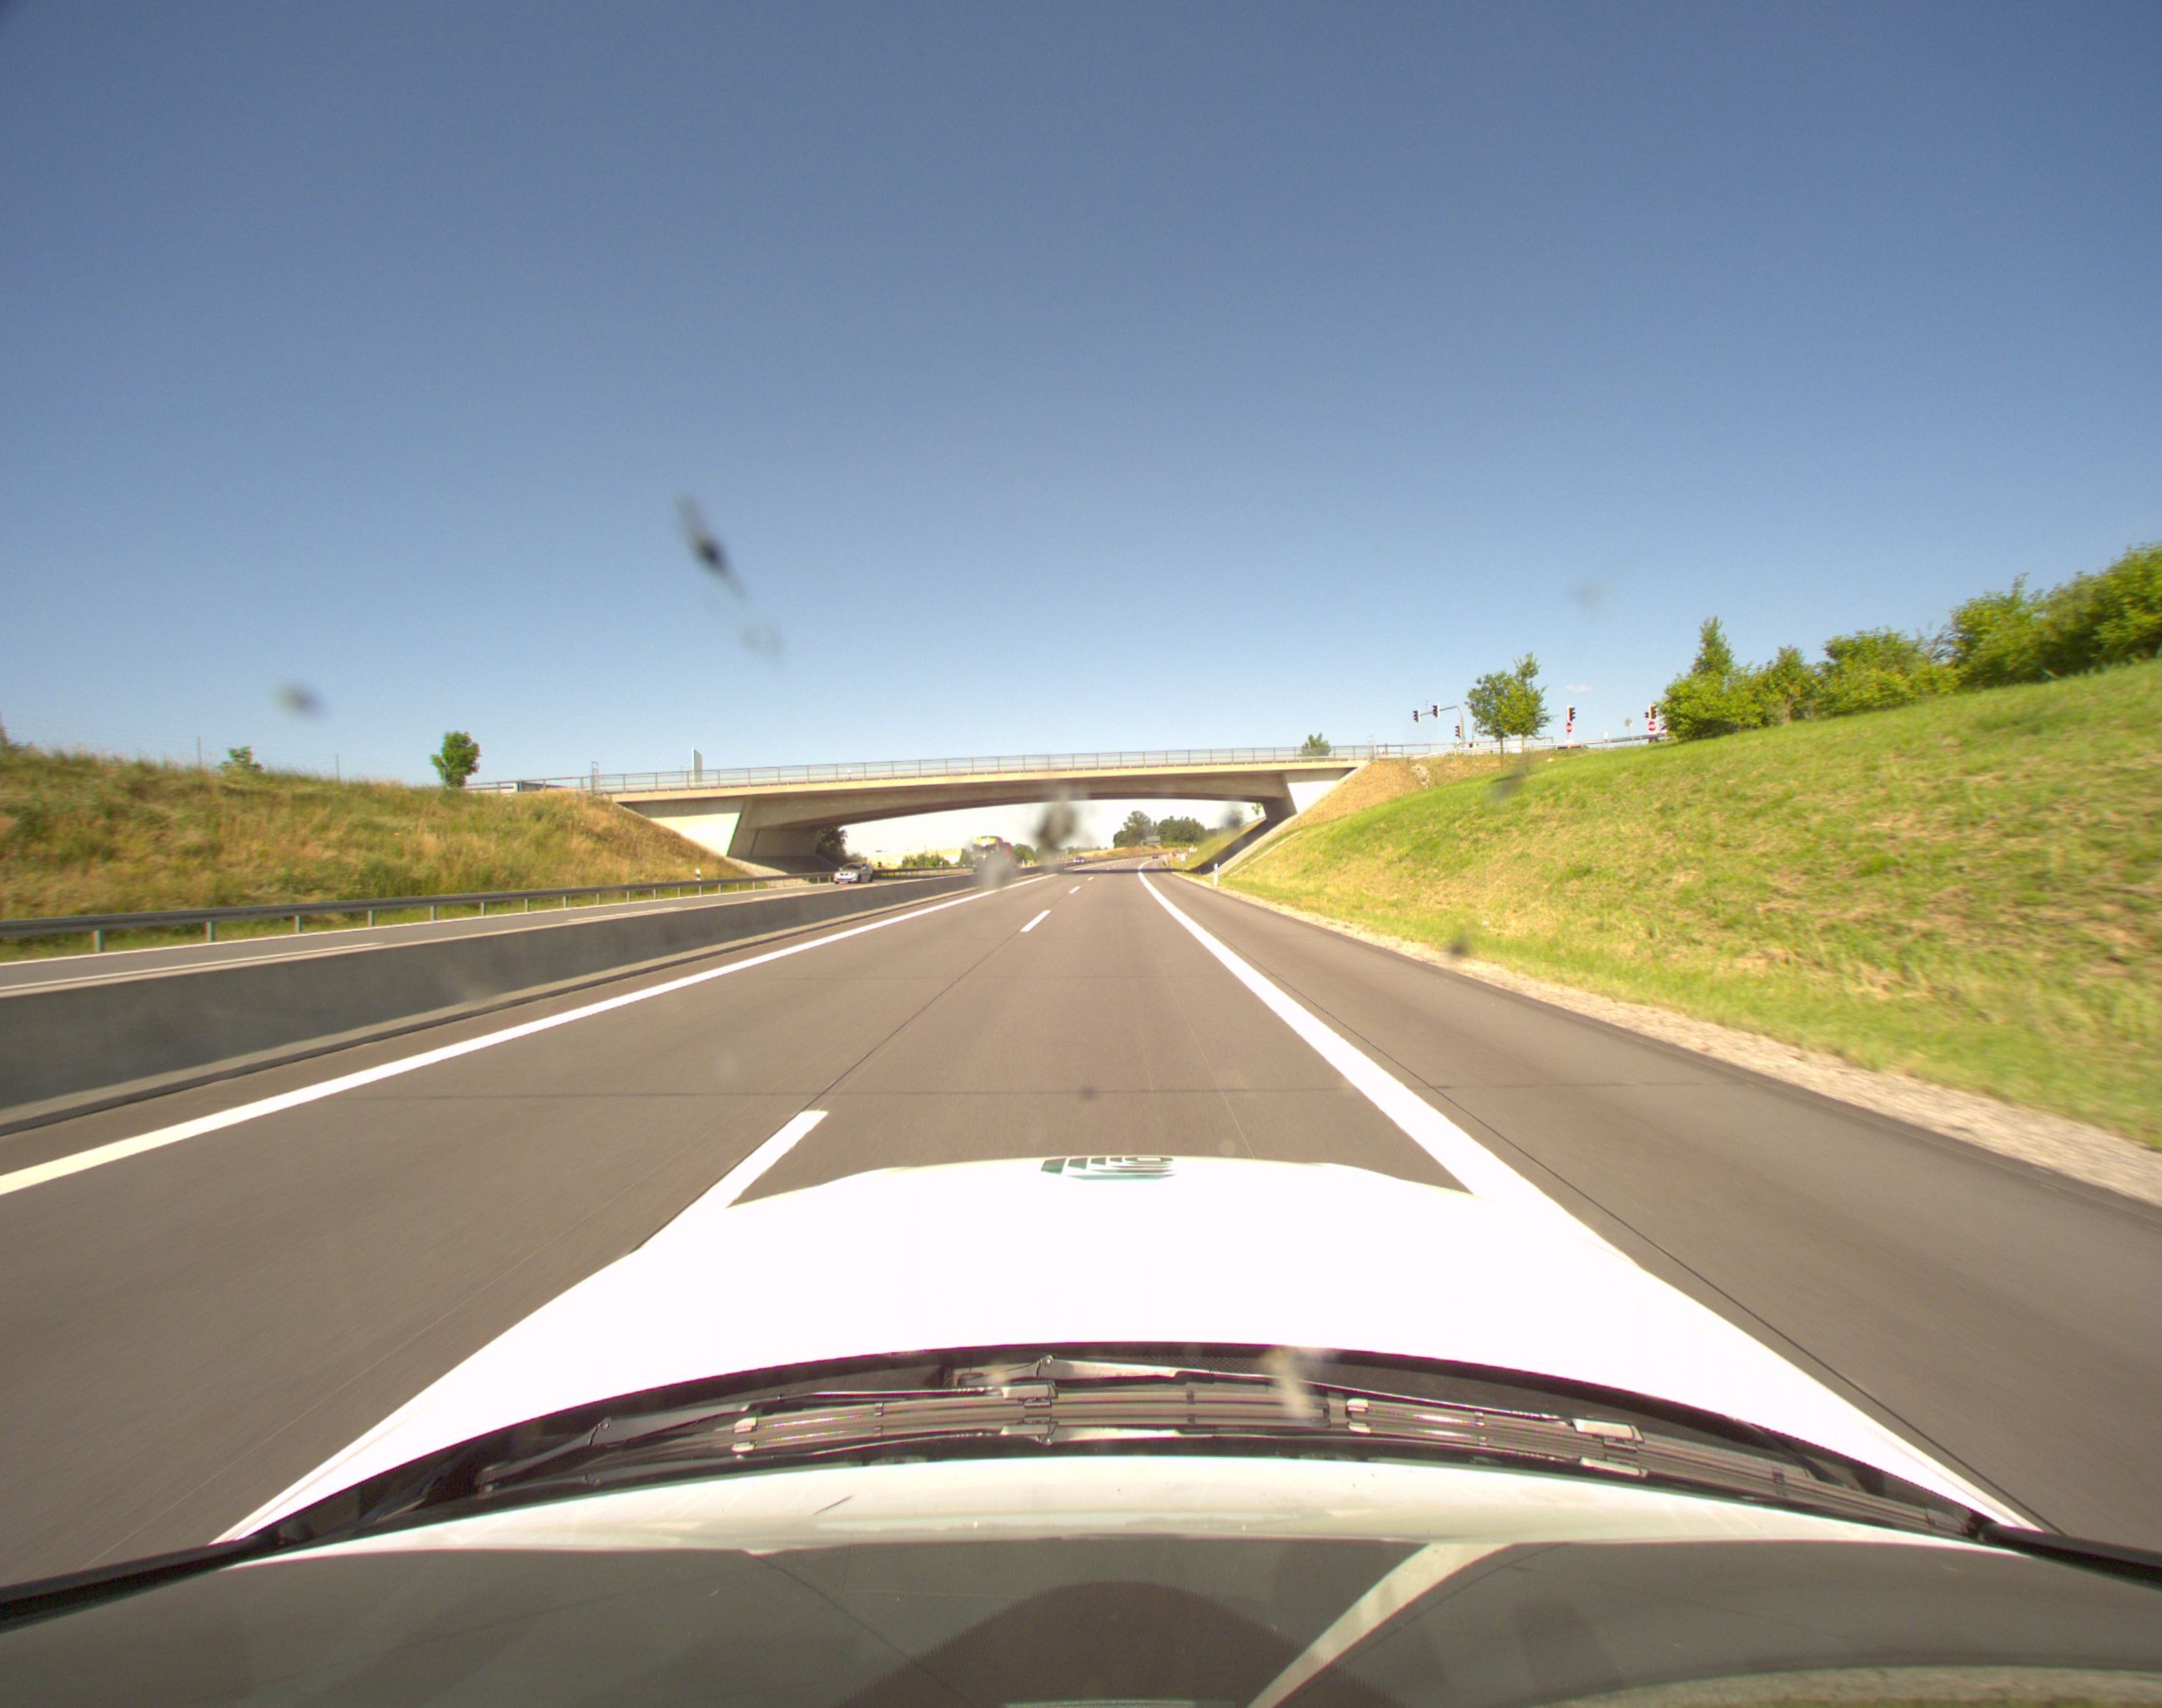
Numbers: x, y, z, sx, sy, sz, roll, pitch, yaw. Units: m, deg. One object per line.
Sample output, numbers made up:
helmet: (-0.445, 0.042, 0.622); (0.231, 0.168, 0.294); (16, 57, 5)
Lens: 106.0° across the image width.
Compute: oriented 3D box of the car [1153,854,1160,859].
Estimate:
car: (23.003, 0.750, 246.725); (1.983, 1.420, 4.007); (-3, 0, 6)

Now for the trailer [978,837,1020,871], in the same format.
trailer: (-9.275, -0.016, 94.092); (2.653, 3.657, 13.250); (-1, 0, 4)

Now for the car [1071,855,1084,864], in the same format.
car: (-0.593, 1.034, 153.426); (2.060, 1.574, 4.932); (-1, 0, 4)

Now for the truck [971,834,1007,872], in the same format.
truck: (-9.766, -0.081, 86.818); (2.723, 3.832, 5.836); (-1, 0, 3)

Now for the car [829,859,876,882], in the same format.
car: (-15.885, 1.123, 56.845); (1.855, 1.531, 4.569); (-1, 0, 1)
